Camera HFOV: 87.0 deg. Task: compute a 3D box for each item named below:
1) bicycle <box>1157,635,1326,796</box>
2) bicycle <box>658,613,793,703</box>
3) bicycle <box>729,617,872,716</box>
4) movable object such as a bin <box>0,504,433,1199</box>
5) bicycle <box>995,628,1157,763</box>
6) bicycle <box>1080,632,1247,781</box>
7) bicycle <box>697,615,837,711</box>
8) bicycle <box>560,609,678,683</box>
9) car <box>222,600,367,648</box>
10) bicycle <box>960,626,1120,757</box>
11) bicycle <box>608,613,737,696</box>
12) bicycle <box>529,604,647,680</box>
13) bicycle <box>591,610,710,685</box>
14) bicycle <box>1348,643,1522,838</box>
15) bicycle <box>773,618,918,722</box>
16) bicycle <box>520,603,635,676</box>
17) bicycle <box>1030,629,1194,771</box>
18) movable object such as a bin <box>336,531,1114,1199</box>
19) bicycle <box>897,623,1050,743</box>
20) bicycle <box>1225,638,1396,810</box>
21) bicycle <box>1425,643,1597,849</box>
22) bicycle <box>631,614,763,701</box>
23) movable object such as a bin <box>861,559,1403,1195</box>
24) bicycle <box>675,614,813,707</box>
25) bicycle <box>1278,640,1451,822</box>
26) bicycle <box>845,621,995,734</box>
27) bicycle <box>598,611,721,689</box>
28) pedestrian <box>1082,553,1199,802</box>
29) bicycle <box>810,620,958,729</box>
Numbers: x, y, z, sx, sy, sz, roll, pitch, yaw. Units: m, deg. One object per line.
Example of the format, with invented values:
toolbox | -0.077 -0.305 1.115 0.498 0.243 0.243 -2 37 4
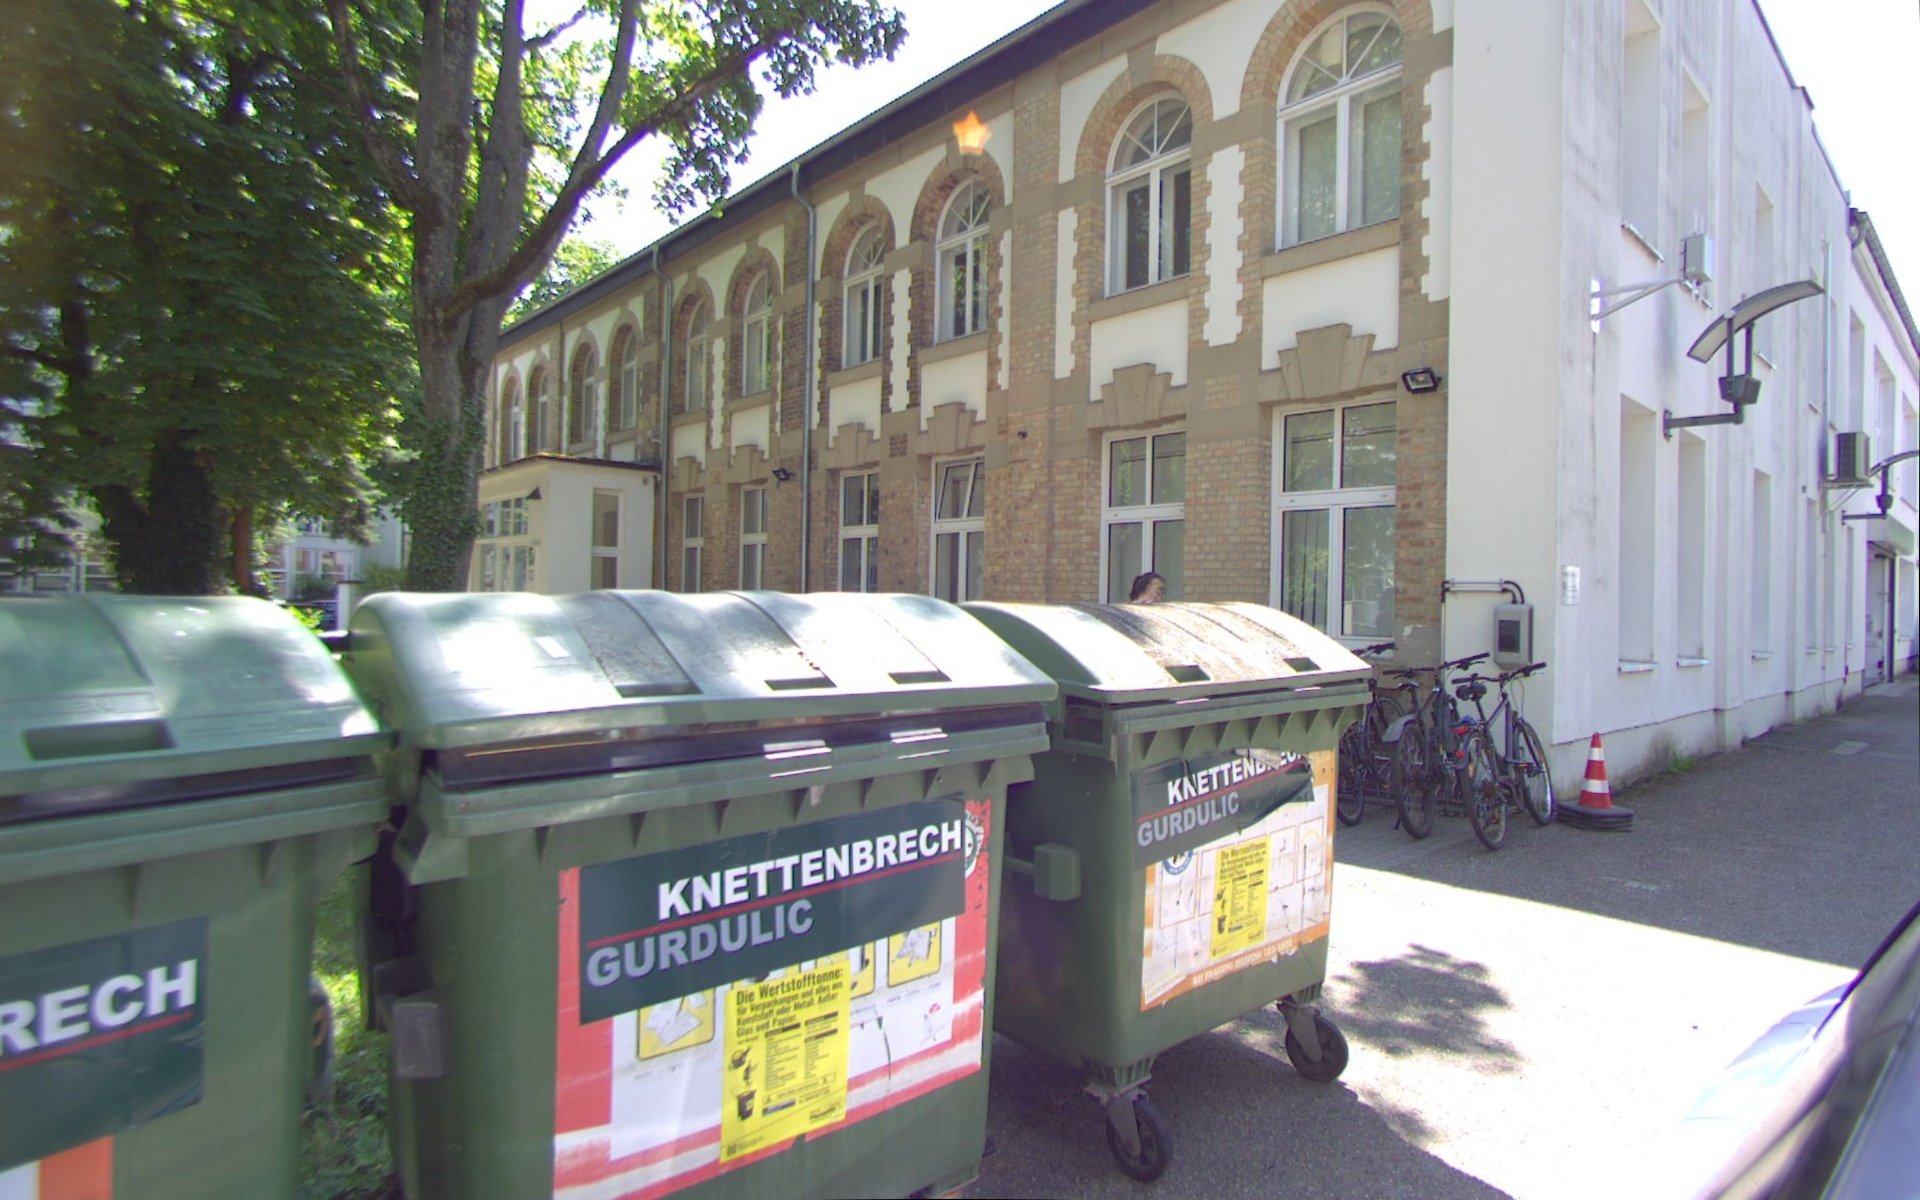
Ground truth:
bicycle | 2.299 0.866 8.135 1.795 1.115 0.405 0 0 -42
bicycle | -3.128 0.750 13.636 1.795 1.115 0.405 0 0 -42
bicycle | -1.925 0.775 12.427 1.795 1.115 0.405 0 0 -42
movable object such as a bin | -1.514 0.635 1.214 1.353 1.476 1.077 0 0 -41
bicycle | 1.118 0.840 9.434 1.795 1.115 0.405 0 0 -42
bicycle | 1.778 0.855 8.663 1.795 1.115 0.405 0 0 -42
bicycle | -2.421 0.766 12.848 1.795 1.115 0.405 0 0 -42
bicycle | -5.464 0.720 16.295 1.795 1.115 0.405 0 0 -42
car | -20.640 0.703 31.531 1.634 1.359 3.505 1 1 21
bicycle | 0.808 0.833 9.762 1.795 1.115 0.405 0 0 -42
bicycle | -4.125 0.753 14.616 1.795 1.115 0.405 0 0 -42
bicycle | -6.135 0.665 16.769 1.795 1.115 0.405 -3 3 -42
bicycle | -4.875 0.729 16.028 1.795 1.115 0.405 0 0 -42
bicycle | 3.281 0.890 6.911 1.795 1.115 0.405 0 0 -42
bicycle | -1.322 0.787 11.943 1.795 1.115 0.405 0 0 -42
bicycle | -6.544 0.654 17.397 1.795 1.115 0.405 -3 3 -42
bicycle | 1.401 0.846 9.095 1.795 1.115 0.405 0 0 -42
movable object such as a bin | -0.513 0.634 2.267 1.353 1.476 1.077 0 0 -41
bicycle | 0.173 0.818 10.517 1.795 1.115 0.405 0 0 -42
bicycle | 2.695 0.875 7.669 1.795 1.115 0.405 0 0 -42
bicycle | 3.627 0.874 6.591 1.795 1.115 0.405 0 0 -42
bicycle | -3.619 0.764 14.045 1.795 1.115 0.405 0 0 -42
movable object such as a bin | 0.552 0.635 3.204 1.353 1.476 1.077 0 0 -41
bicycle | -2.792 0.757 13.236 1.795 1.115 0.405 0 0 -42
bicycle | 2.965 0.882 7.322 1.795 1.115 0.405 0 0 -42
bicycle | -0.402 0.806 11.042 1.795 1.115 0.405 0 0 -42
bicycle | -4.560 0.739 15.455 1.795 1.115 0.405 0 0 -42
pedestrian | 1.359 0.546 7.605 0.677 1.771 0.552 1 0 -41
bicycle | -0.823 0.798 11.434 1.795 1.115 0.405 0 0 -42
